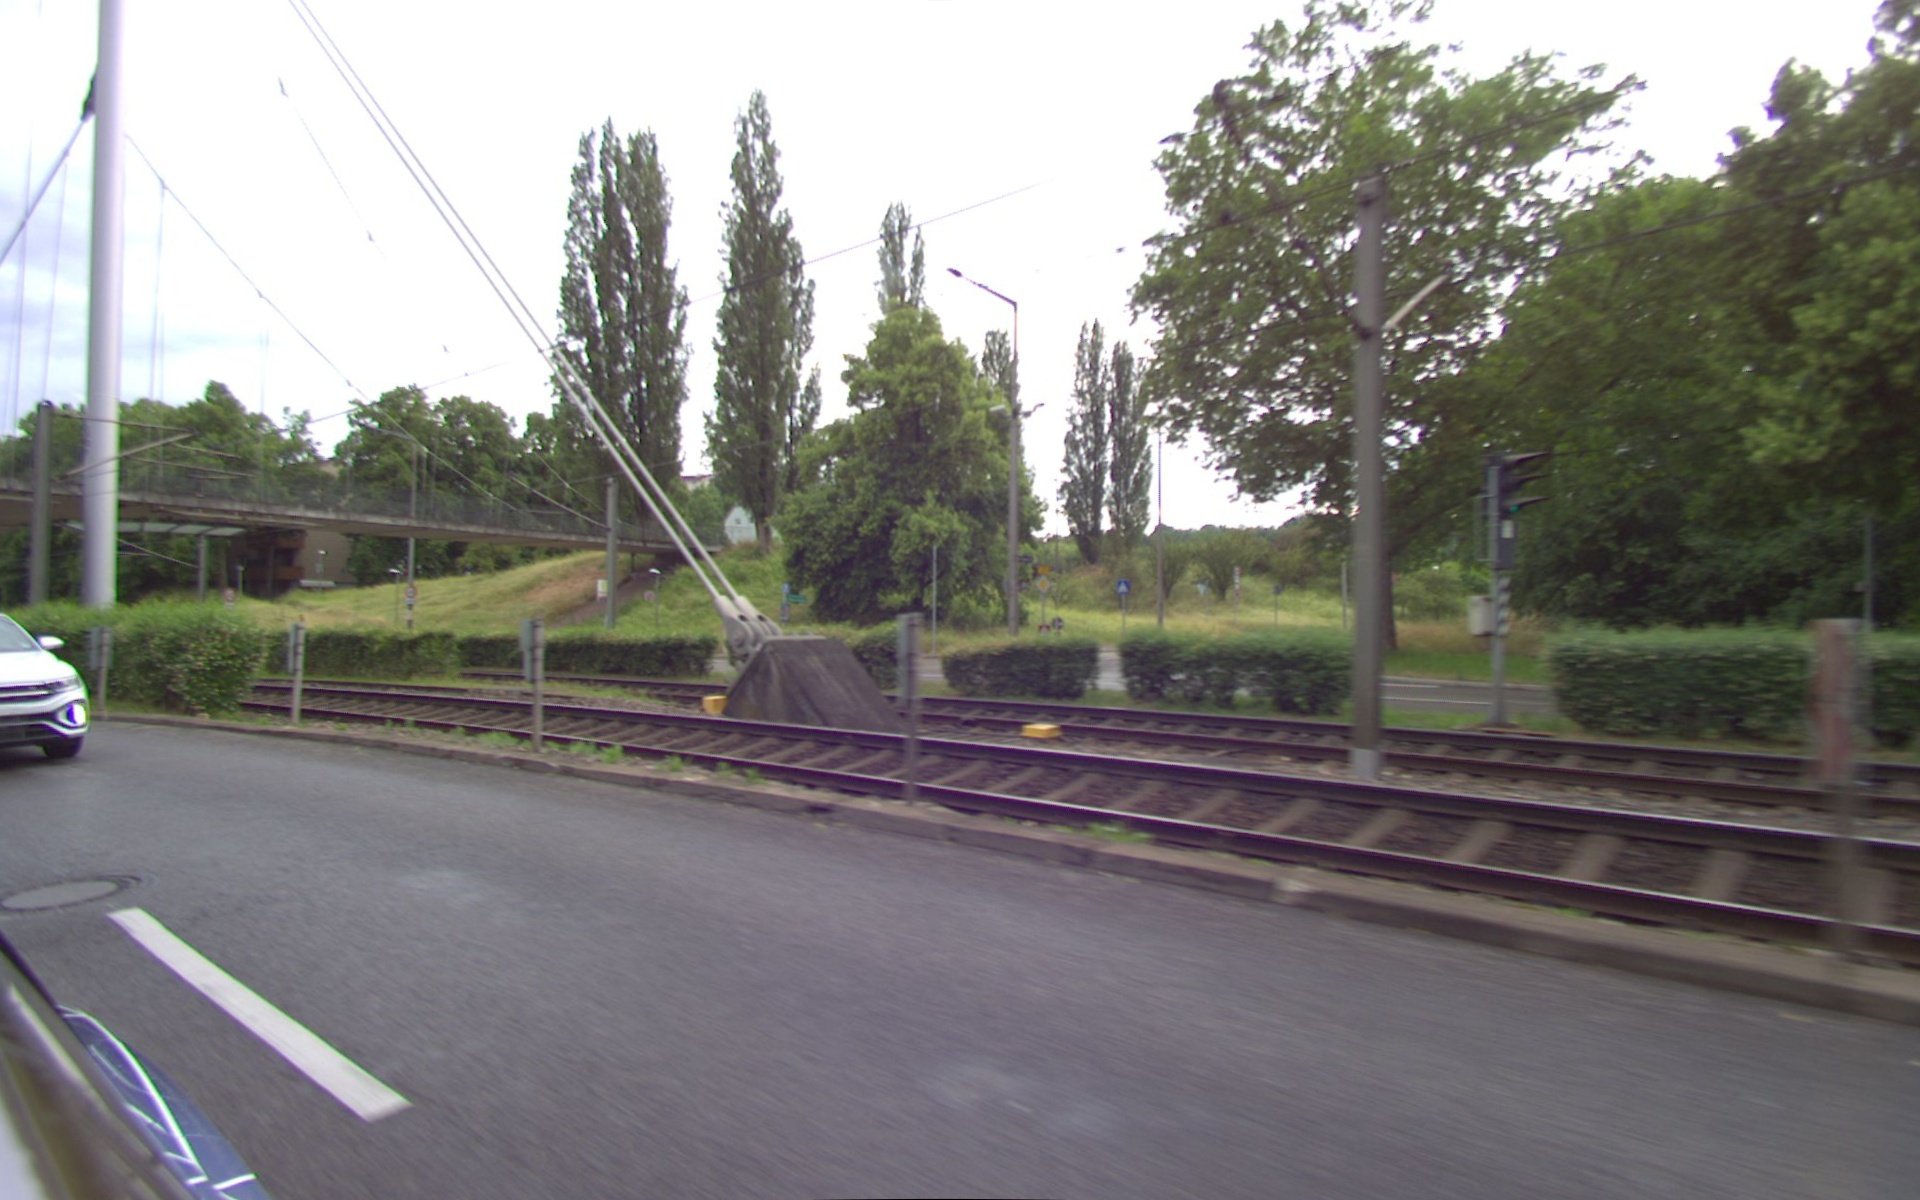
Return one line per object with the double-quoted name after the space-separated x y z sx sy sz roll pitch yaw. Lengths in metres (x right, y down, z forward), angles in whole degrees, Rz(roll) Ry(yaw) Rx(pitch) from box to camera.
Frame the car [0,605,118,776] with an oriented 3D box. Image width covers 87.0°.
-10.602 0.843 10.247 4.524 1.535 1.857 -1 -1 32 "car"
